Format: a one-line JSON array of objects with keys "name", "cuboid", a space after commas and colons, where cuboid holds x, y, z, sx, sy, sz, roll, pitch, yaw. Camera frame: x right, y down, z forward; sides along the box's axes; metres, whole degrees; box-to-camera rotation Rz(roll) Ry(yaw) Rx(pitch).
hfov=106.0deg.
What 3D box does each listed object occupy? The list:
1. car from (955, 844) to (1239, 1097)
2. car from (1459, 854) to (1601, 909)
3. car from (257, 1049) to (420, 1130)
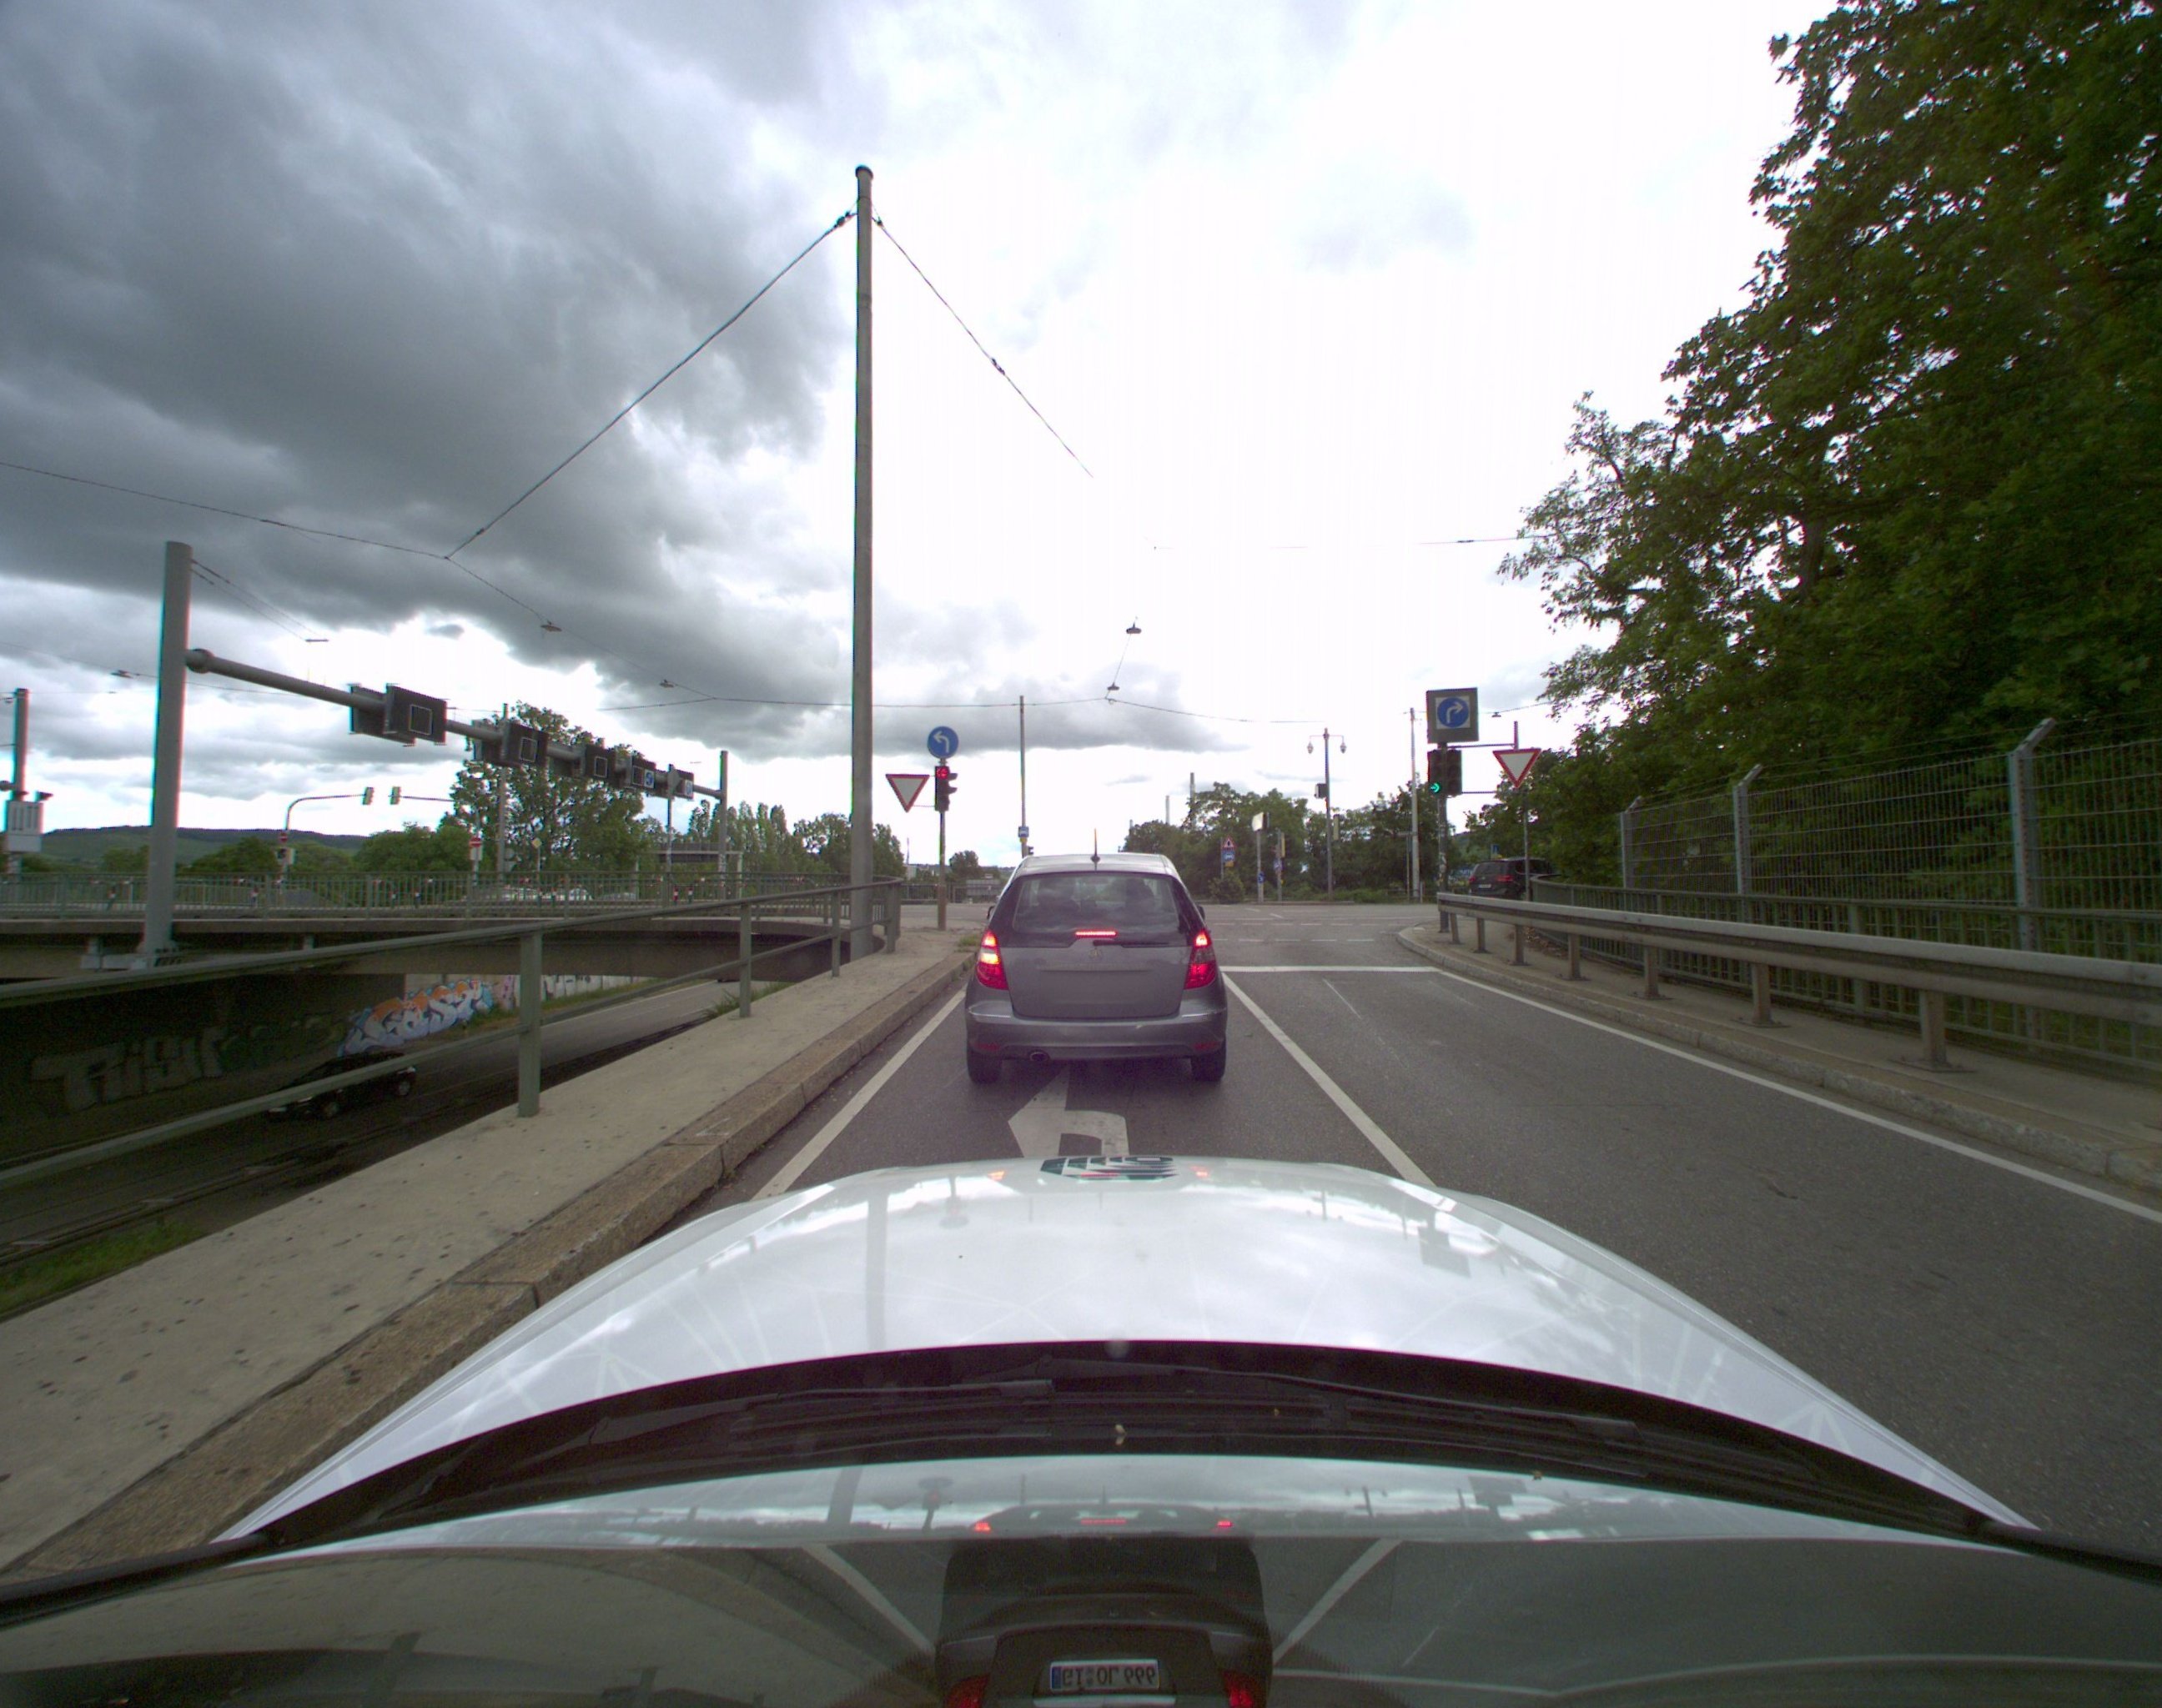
[{"name": "car", "cuboid": [0.160, 0.731, 6.772, 1.733, 1.543, 3.542, 0, -1, 2]}, {"name": "car", "cuboid": [14.525, 0.843, 26.381, 4.152, 1.653, 1.789, 0, -1, -21]}, {"name": "car", "cuboid": [-24.531, 7.741, 27.124, 1.659, 1.621, 4.001, -3, -3, 2]}]
